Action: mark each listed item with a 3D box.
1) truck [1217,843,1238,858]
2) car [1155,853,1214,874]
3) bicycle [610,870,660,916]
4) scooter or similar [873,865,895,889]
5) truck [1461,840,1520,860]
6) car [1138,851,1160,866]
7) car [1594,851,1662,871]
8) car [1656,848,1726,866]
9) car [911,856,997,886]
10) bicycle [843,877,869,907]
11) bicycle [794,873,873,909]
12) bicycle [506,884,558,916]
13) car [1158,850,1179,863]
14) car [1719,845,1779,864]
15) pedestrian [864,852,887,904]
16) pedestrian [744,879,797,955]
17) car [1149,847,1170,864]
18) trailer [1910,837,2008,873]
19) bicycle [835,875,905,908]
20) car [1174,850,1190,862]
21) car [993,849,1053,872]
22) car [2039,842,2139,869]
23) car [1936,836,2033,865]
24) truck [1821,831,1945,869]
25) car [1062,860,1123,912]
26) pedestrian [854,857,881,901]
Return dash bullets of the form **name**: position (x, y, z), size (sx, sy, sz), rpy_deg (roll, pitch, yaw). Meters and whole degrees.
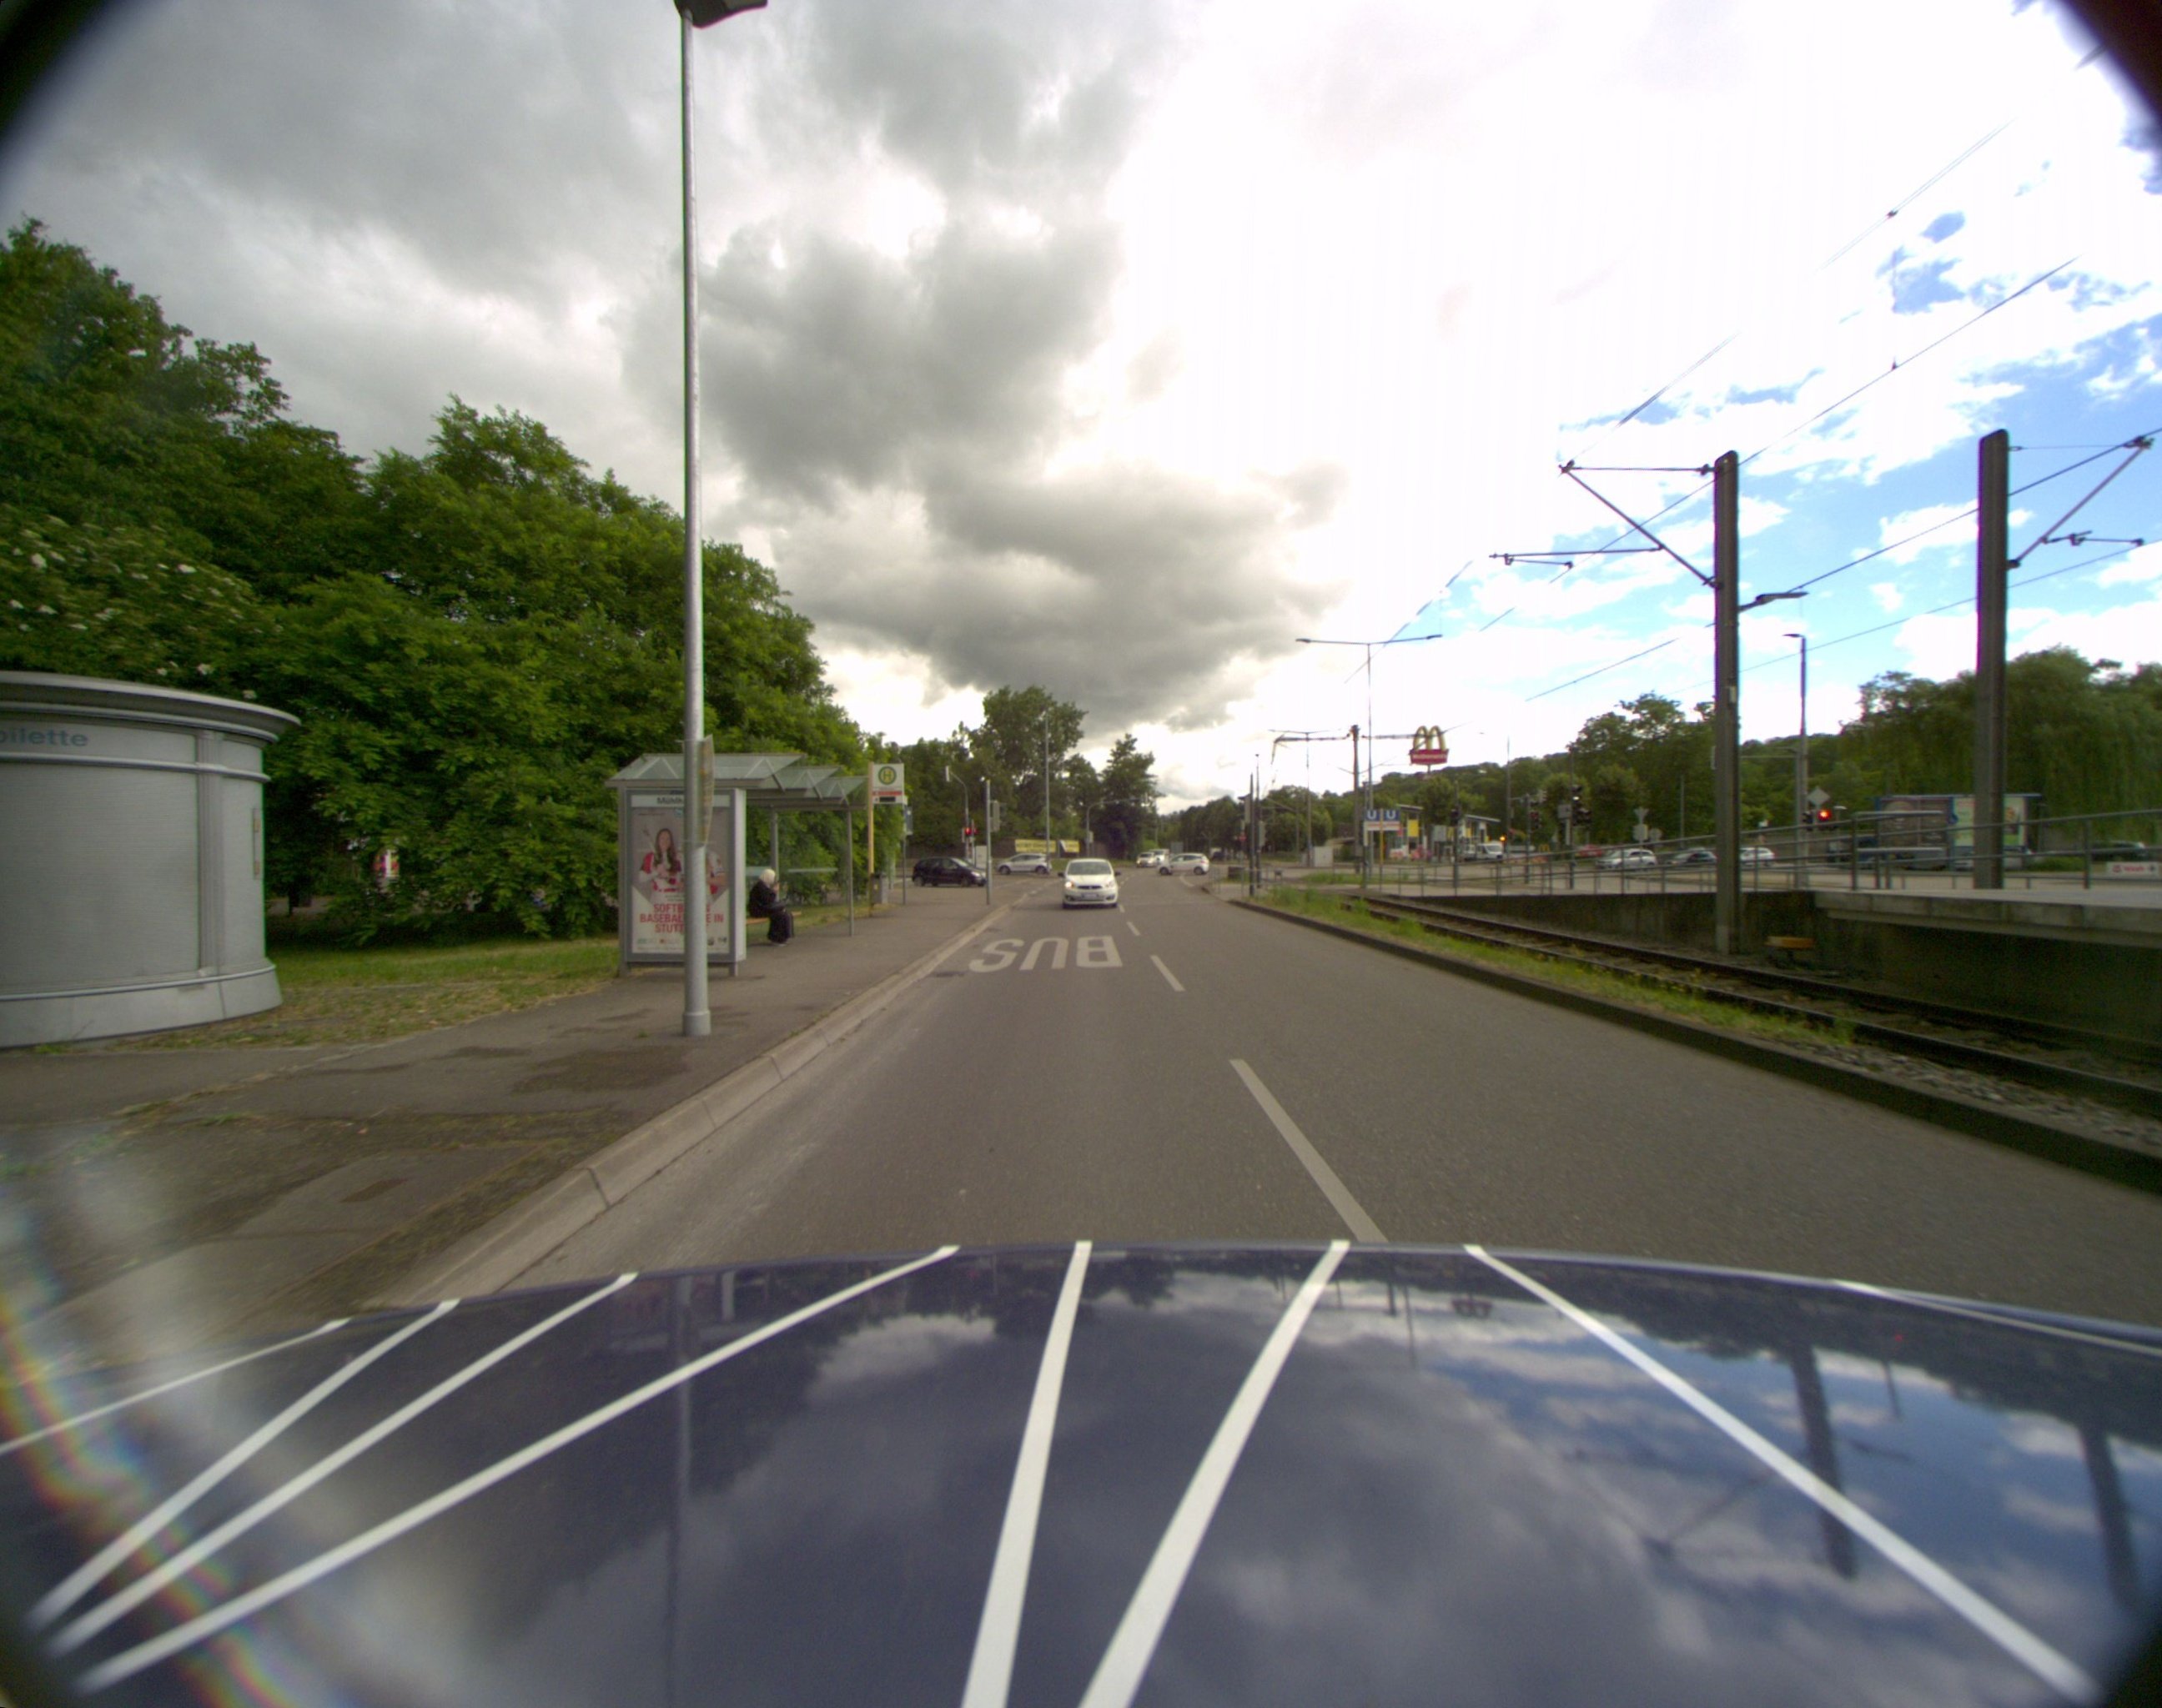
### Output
- **truck**: position (35.223, -0.905, 183.095), size (3.435, 3.539, 8.699), rpy_deg (1, 1, 1)
- **car**: position (7.239, 0.679, 53.128), size (3.820, 1.446, 1.635), rpy_deg (-1, 0, 23)
- **bicycle**: position (-13.977, 1.197, 23.857), size (0.646, 1.364, 1.657), rpy_deg (-2, 0, -5)
- **scooter or similar**: position (-9.564, 1.092, 36.899), size (0.654, 1.105, 1.231), rpy_deg (0, 1, 3)
- **truck**: position (41.401, -0.406, 77.003), size (2.599, 1.894, 6.197), rpy_deg (1, 1, 1)
- **car**: position (6.863, 0.416, 76.221), size (1.718, 1.410, 4.003), rpy_deg (1, 1, 11)
- **car**: position (42.201, 0.501, 58.636), size (4.419, 1.423, 1.794), rpy_deg (-1, 0, -12)
- **car**: position (47.789, 0.227, 59.565), size (4.284, 1.423, 1.795), rpy_deg (0, 1, -8)
- **car**: position (-6.693, 0.864, 40.133), size (4.177, 1.522, 1.724), rpy_deg (0, 1, 20)
- **bicycle**: position (-7.143, 1.200, 24.171), size (0.524, 0.900, 1.851), rpy_deg (1, -1, -9)
- **bicycle**: position (-6.734, 0.999, 20.686), size (2.040, 0.934, 0.592), rpy_deg (-1, 0, 15)
- **bicycle**: position (-16.693, 1.385, 23.152), size (0.478, 0.851, 1.657), rpy_deg (-2, 0, -5)
- **car**: position (10.475, 0.242, 90.654), size (1.996, 1.527, 4.004), rpy_deg (1, 1, 13)
- **car**: position (56.225, 0.020, 63.940), size (3.640, 1.545, 1.726), rpy_deg (1, 1, -5)
- **pedestrian**: position (-6.969, 0.797, 25.791), size (0.419, 1.744, 0.690), rpy_deg (-1, 1, 14)
- **pedestrian**: position (-4.907, 0.982, 12.041), size (0.602, 1.151, 0.546), rpy_deg (1, 1, 0)
- **car**: position (8.571, 0.178, 82.497), size (1.807, 1.814, 4.004), rpy_deg (-1, 0, 13)
- **trailer**: position (56.509, 0.079, 48.944), size (4.388, 2.245, 1.560), rpy_deg (1, 1, 0)
- **bicycle**: position (-6.119, 1.077, 22.052), size (1.871, 0.919, 0.545), rpy_deg (-1, 1, 1)
- **car**: position (13.611, 0.275, 102.526), size (1.829, 1.543, 4.003), rpy_deg (1, 1, 11)
- **car**: position (-4.202, 0.477, 55.289), size (4.120, 1.631, 1.751), rpy_deg (-1, 1, 3)
- **car**: position (73.670, 0.103, 55.610), size (2.001, 1.830, 3.994), rpy_deg (-1, 0, -17)
- **car**: position (54.990, -0.201, 46.295), size (3.855, 1.733, 1.755), rpy_deg (0, 1, -1)
- **truck**: position (54.530, -0.282, 51.779), size (5.820, 2.480, 2.386), rpy_deg (0, 1, 2)
- **car**: position (0.435, 0.938, 23.707), size (1.673, 1.439, 3.605), rpy_deg (-1, 0, 4)
- **pedestrian**: position (-7.587, 0.871, 26.969), size (0.755, 1.505, 0.671), rpy_deg (1, 1, 0)
